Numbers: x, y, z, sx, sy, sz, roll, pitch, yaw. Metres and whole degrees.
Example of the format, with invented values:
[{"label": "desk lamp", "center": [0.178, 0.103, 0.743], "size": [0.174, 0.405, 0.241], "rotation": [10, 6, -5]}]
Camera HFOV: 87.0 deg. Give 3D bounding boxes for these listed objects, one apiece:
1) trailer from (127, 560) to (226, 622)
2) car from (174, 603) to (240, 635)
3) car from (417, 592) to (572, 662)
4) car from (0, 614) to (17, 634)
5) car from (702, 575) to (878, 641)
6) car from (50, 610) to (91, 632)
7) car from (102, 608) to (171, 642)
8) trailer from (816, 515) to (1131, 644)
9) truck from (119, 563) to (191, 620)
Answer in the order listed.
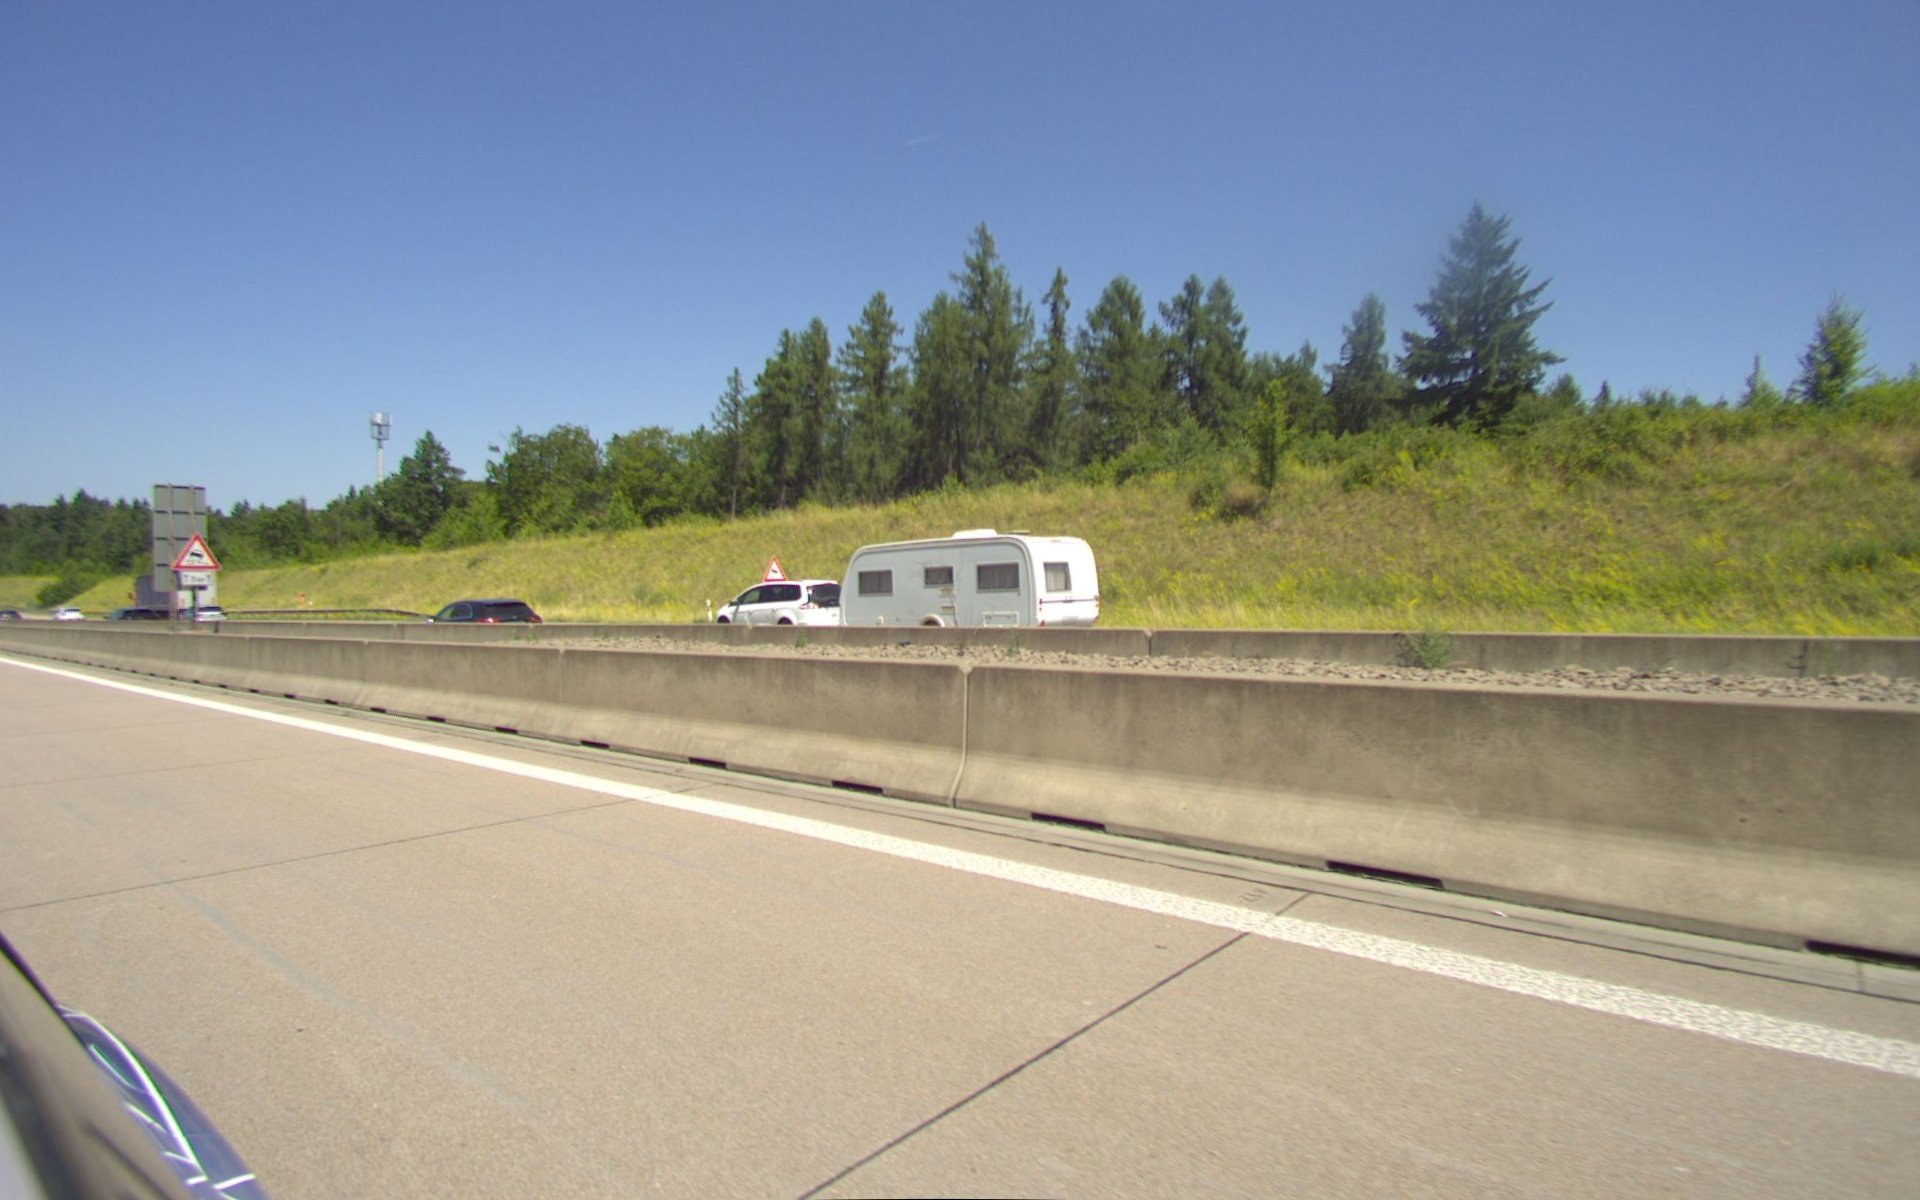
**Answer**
[{"label": "trailer", "center": [-61.624, -0.724, 79.388], "size": [13.917, 4.464, 3.352], "rotation": [0, 2, 41]}, {"label": "car", "center": [-41.246, 1.036, 55.385], "size": [4.496, 1.570, 1.973], "rotation": [-1, 1, 41]}, {"label": "car", "center": [-11.473, 0.626, 24.863], "size": [3.998, 1.530, 1.973], "rotation": [-1, 1, 41]}, {"label": "car", "center": [-85.244, 2.112, 89.672], "size": [4.369, 1.705, 1.973], "rotation": [-1, 1, 41]}, {"label": "car", "center": [-4.945, 0.224, 28.849], "size": [5.371, 1.672, 1.973], "rotation": [-1, 1, 41]}, {"label": "car", "center": [-75.994, 1.780, 86.455], "size": [4.813, 1.705, 1.973], "rotation": [-1, 1, 41]}, {"label": "car", "center": [-42.677, 1.279, 52.423], "size": [4.496, 1.570, 1.973], "rotation": [-1, 1, 41]}, {"label": "trailer", "center": [0.080, -0.413, 24.454], "size": [7.777, 2.651, 2.579], "rotation": [-1, 1, 41]}, {"label": "truck", "center": [-66.747, -0.713, 83.851], "size": [6.797, 4.464, 3.352], "rotation": [0, 2, 41]}]
